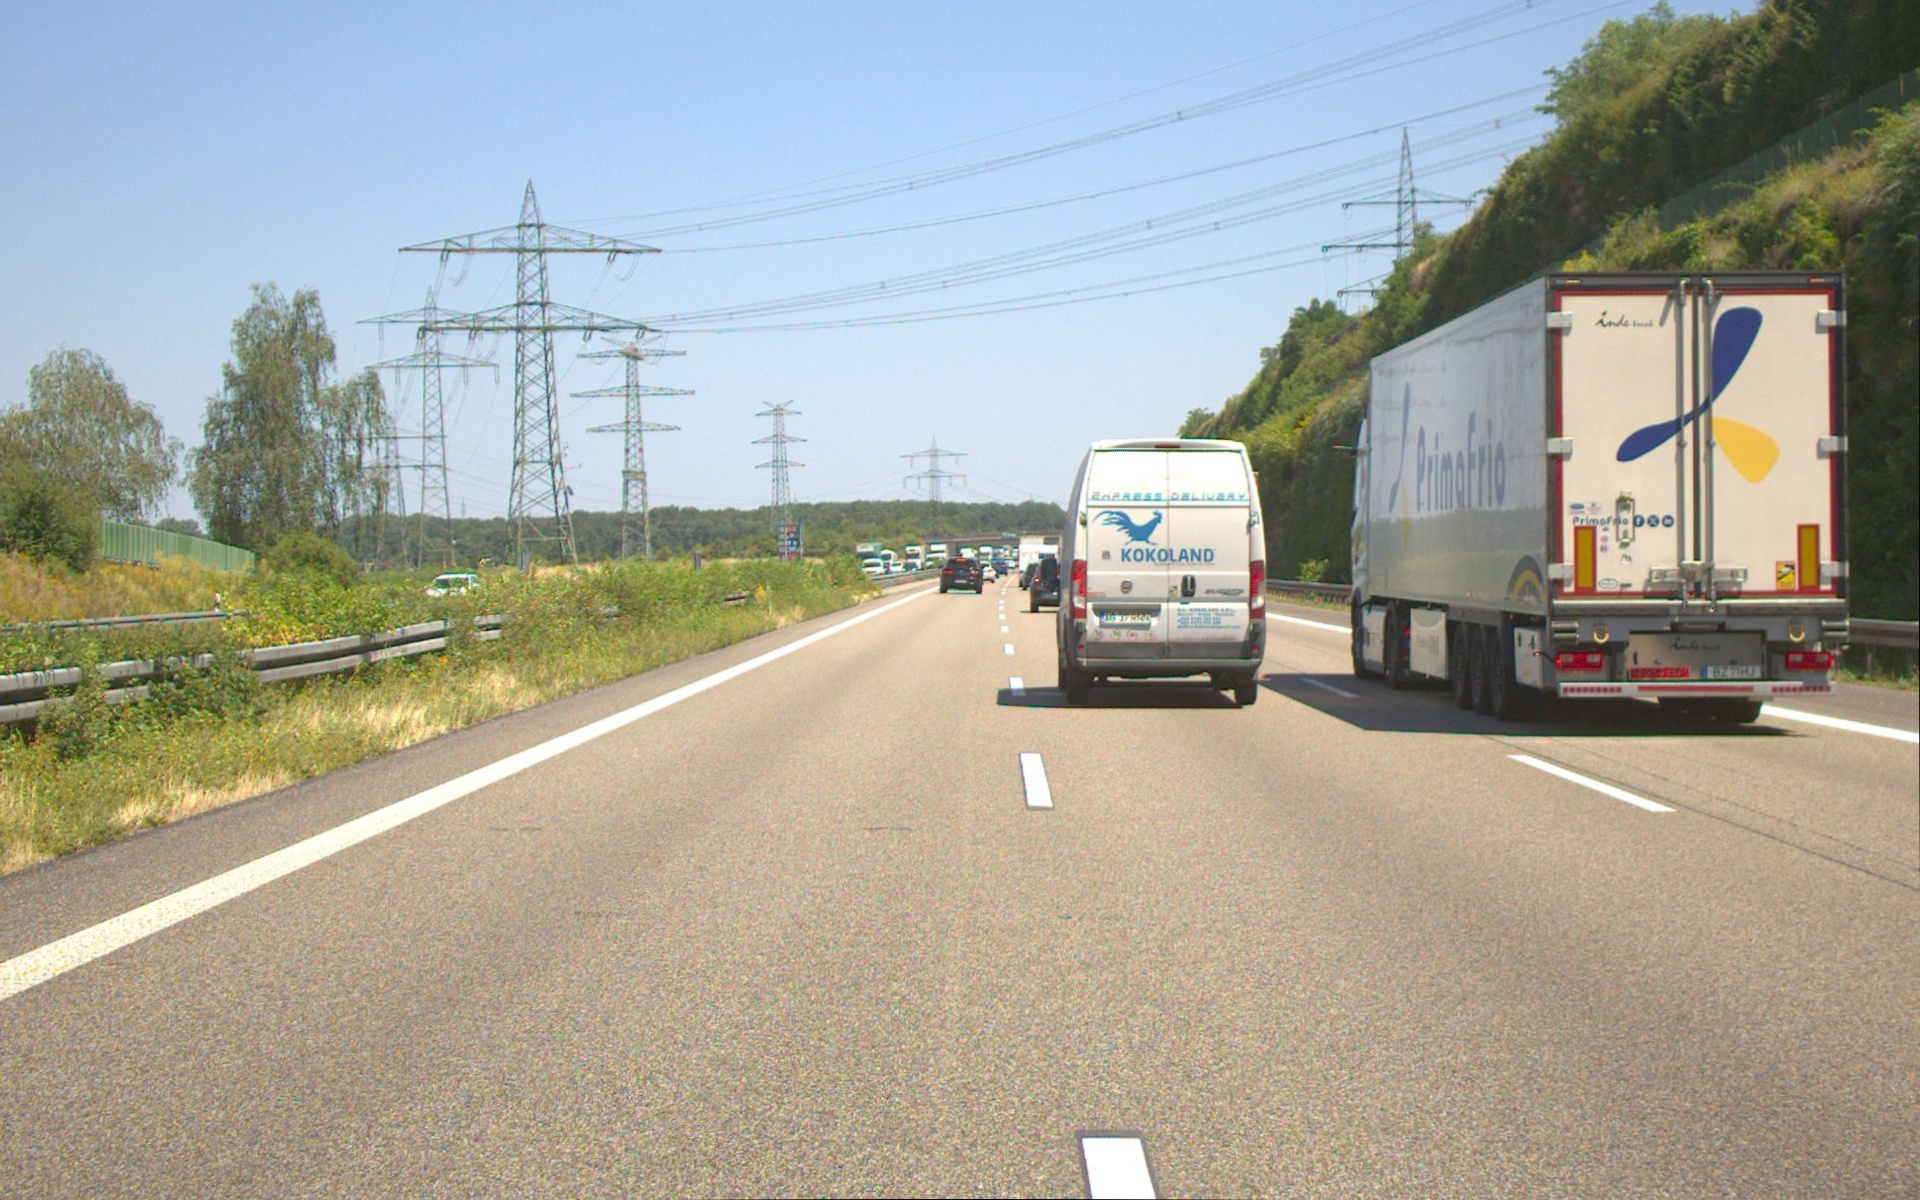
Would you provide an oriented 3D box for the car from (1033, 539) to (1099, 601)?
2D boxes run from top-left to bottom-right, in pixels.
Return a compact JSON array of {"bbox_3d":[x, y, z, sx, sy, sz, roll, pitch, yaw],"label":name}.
[{"bbox_3d":[3.192,-0.924,103.973,1.795,1.811,3.800,1,1,0],"label":"car"}]

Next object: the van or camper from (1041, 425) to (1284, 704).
[{"bbox_3d":[2.114,-0.405,37.551,2.230,2.772,5.423,1,1,0],"label":"van or camper"}]

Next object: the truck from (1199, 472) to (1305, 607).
[{"bbox_3d":[8.760,-1.830,103.527,2.637,3.883,5.905,1,1,0],"label":"truck"}]

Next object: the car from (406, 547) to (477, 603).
[{"bbox_3d":[-19.260,-0.934,127.769,1.967,2.001,4.403,1,1,0],"label":"car"}]

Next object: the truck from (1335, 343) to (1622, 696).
[{"bbox_3d":[6.344,-0.988,42.861,2.637,4.046,5.800,1,1,0],"label":"truck"}]

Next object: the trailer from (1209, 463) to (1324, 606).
[{"bbox_3d":[8.744,-1.866,98.669,2.637,3.883,7.069,1,1,0],"label":"trailer"}]

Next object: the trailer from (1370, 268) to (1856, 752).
[{"bbox_3d":[6.278,-0.871,35.383,2.637,4.046,12.366,1,1,0],"label":"trailer"}]

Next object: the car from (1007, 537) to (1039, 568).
[{"bbox_3d":[3.647,-2.771,199.616,1.785,1.711,3.707,1,1,1],"label":"car"}]

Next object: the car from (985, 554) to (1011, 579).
[{"bbox_3d":[2.601,-2.320,236.043,1.699,1.656,3.707,1,1,1],"label":"car"}]

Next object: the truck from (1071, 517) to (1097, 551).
[{"bbox_3d":[9.172,-4.875,254.683,1.797,2.470,4.613,1,1,1],"label":"truck"}]

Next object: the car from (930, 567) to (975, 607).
[{"bbox_3d":[-0.341,-0.613,163.355,1.982,1.811,3.812,1,1,1],"label":"car"}]
